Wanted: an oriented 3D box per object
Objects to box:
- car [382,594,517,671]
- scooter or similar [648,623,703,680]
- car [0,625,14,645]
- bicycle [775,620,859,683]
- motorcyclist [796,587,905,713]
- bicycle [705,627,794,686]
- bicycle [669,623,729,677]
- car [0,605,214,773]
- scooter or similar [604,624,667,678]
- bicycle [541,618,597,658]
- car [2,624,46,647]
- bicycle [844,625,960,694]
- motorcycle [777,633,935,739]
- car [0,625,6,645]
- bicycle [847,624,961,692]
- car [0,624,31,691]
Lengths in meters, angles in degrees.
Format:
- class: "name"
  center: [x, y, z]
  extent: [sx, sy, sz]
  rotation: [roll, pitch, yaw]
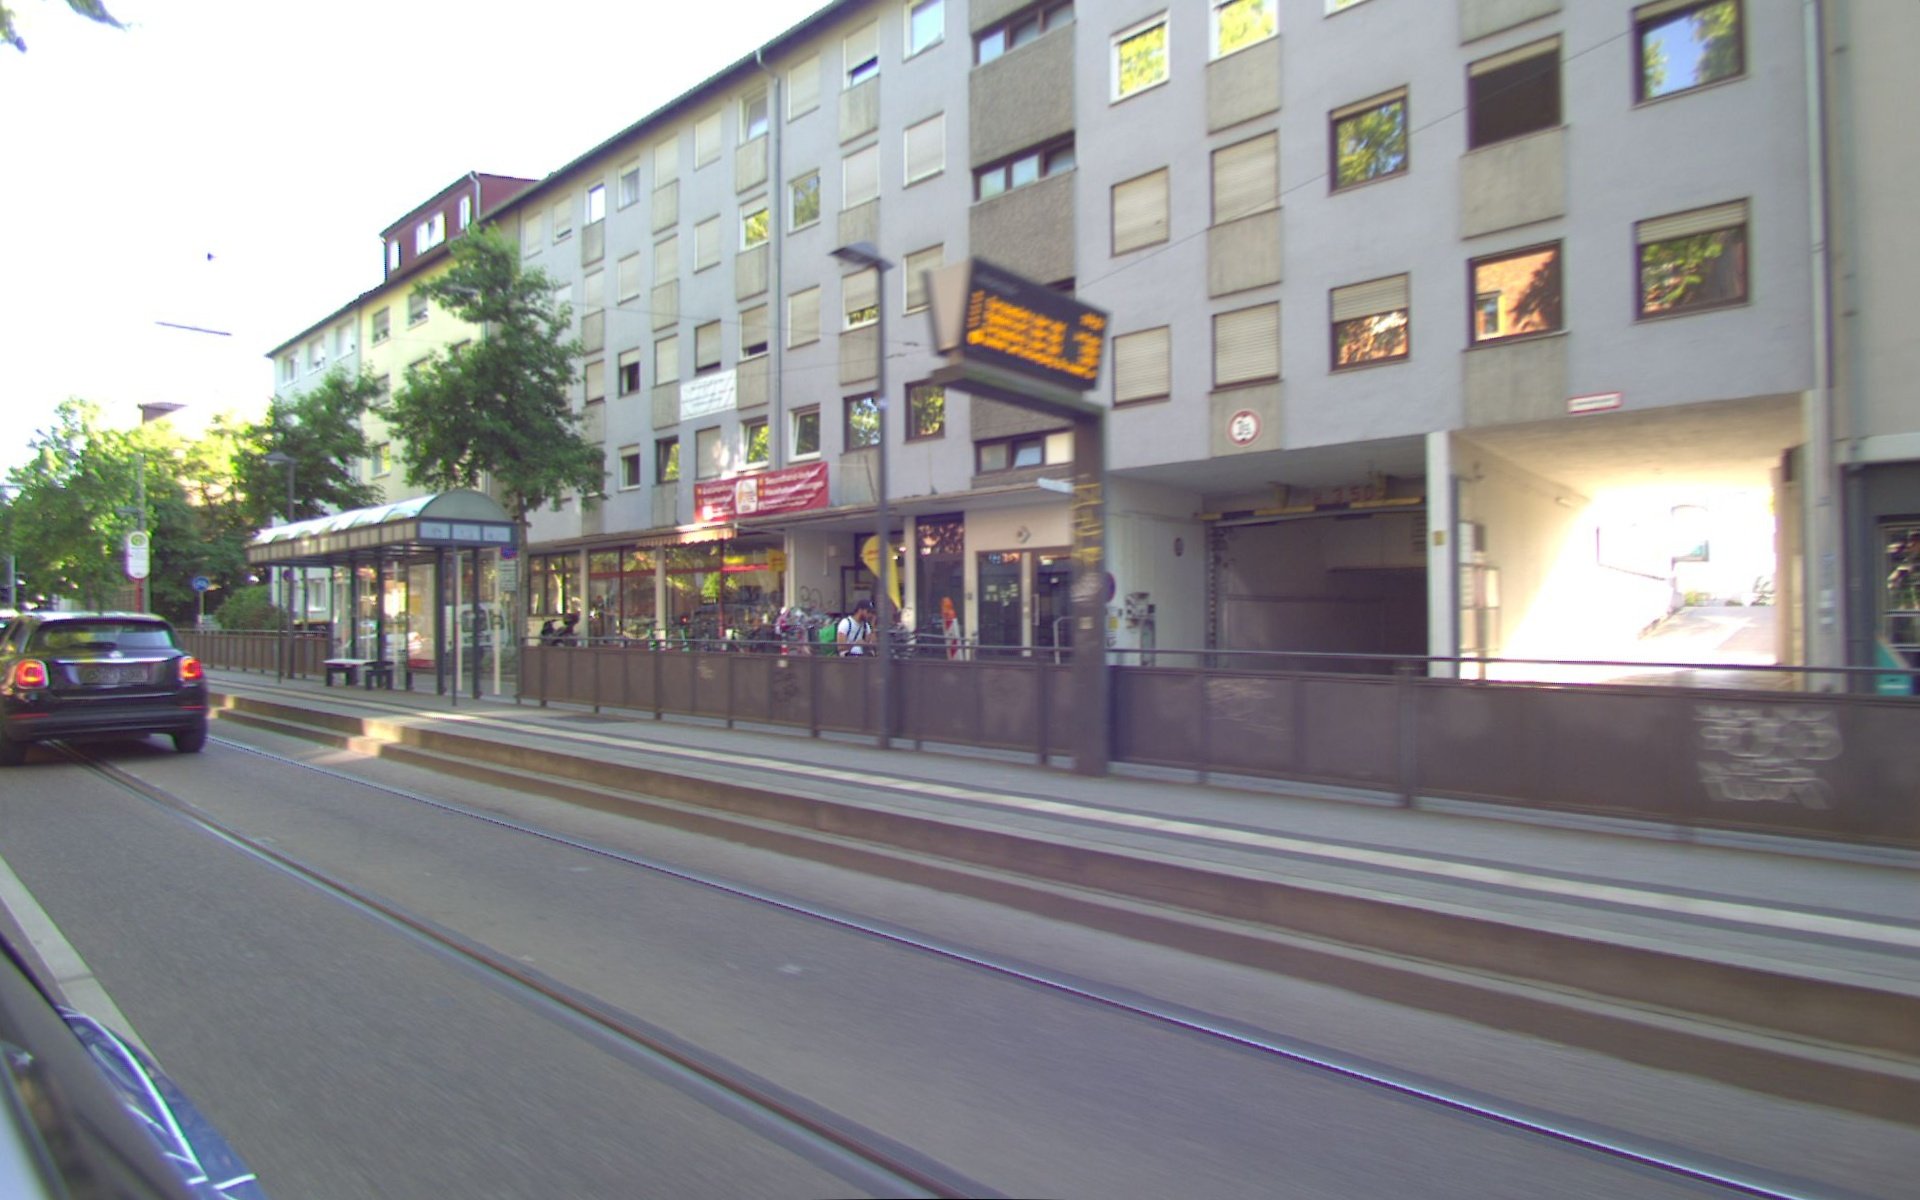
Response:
- class: "car"
  center: [-13.833, 0.864, 27.333]
  extent: [4.046, 1.949, 1.785]
  rotation: [-1, -2, 40]
- class: "scooter or similar"
  center: [-6.077, 1.084, 21.593]
  extent: [1.272, 1.183, 0.440]
  rotation: [-1, -2, 36]
- class: "car"
  center: [-75.350, 2.704, 78.995]
  extent: [3.679, 1.541, 1.971]
  rotation: [-2, -2, 44]
- class: "bicycle"
  center: [-2.771, 0.968, 19.507]
  extent: [1.748, 1.165, 0.488]
  rotation: [-1, -2, 36]
- class: "motorcyclist"
  center: [-1.339, 0.591, 12.365]
  extent: [1.015, 1.451, 0.864]
  rotation: [-1, -2, 40]
- class: "bicycle"
  center: [-4.311, 1.130, 20.668]
  extent: [2.033, 1.165, 0.565]
  rotation: [-1, -2, 36]
- class: "bicycle"
  center: [-5.864, 1.094, 22.697]
  extent: [1.688, 1.165, 0.506]
  rotation: [-2, -2, 44]
- class: "car"
  center: [-10.148, 0.900, 11.592]
  extent: [3.998, 1.601, 1.743]
  rotation: [-1, -2, 41]
- class: "scooter or similar"
  center: [-7.157, 1.118, 22.356]
  extent: [1.259, 1.183, 0.445]
  rotation: [0, -2, 5]
- class: "bicycle"
  center: [-11.819, 1.132, 30.558]
  extent: [2.033, 1.165, 0.565]
  rotation: [-1, -2, 36]
- class: "car"
  center: [-63.533, 2.395, 68.704]
  extent: [3.679, 1.541, 1.971]
  rotation: [-2, -2, 44]
- class: "bicycle"
  center: [-1.028, 1.016, 17.661]
  extent: [2.019, 1.165, 0.556]
  rotation: [-1, -2, 26]
- class: "motorcycle"
  center: [-1.289, 0.999, 12.329]
  extent: [1.914, 1.173, 0.840]
  rotation: [-1, -2, 41]
- class: "car"
  center: [-78.973, 2.845, 82.175]
  extent: [3.679, 1.541, 1.971]
  rotation: [-2, -2, 44]
- class: "bicycle"
  center: [-1.010, 1.014, 18.022]
  extent: [2.019, 1.165, 0.556]
  rotation: [-1, -2, 26]
- class: "car"
  center: [-22.325, 1.259, 22.721]
  extent: [3.998, 1.437, 1.743]
  rotation: [-1, -2, 41]
